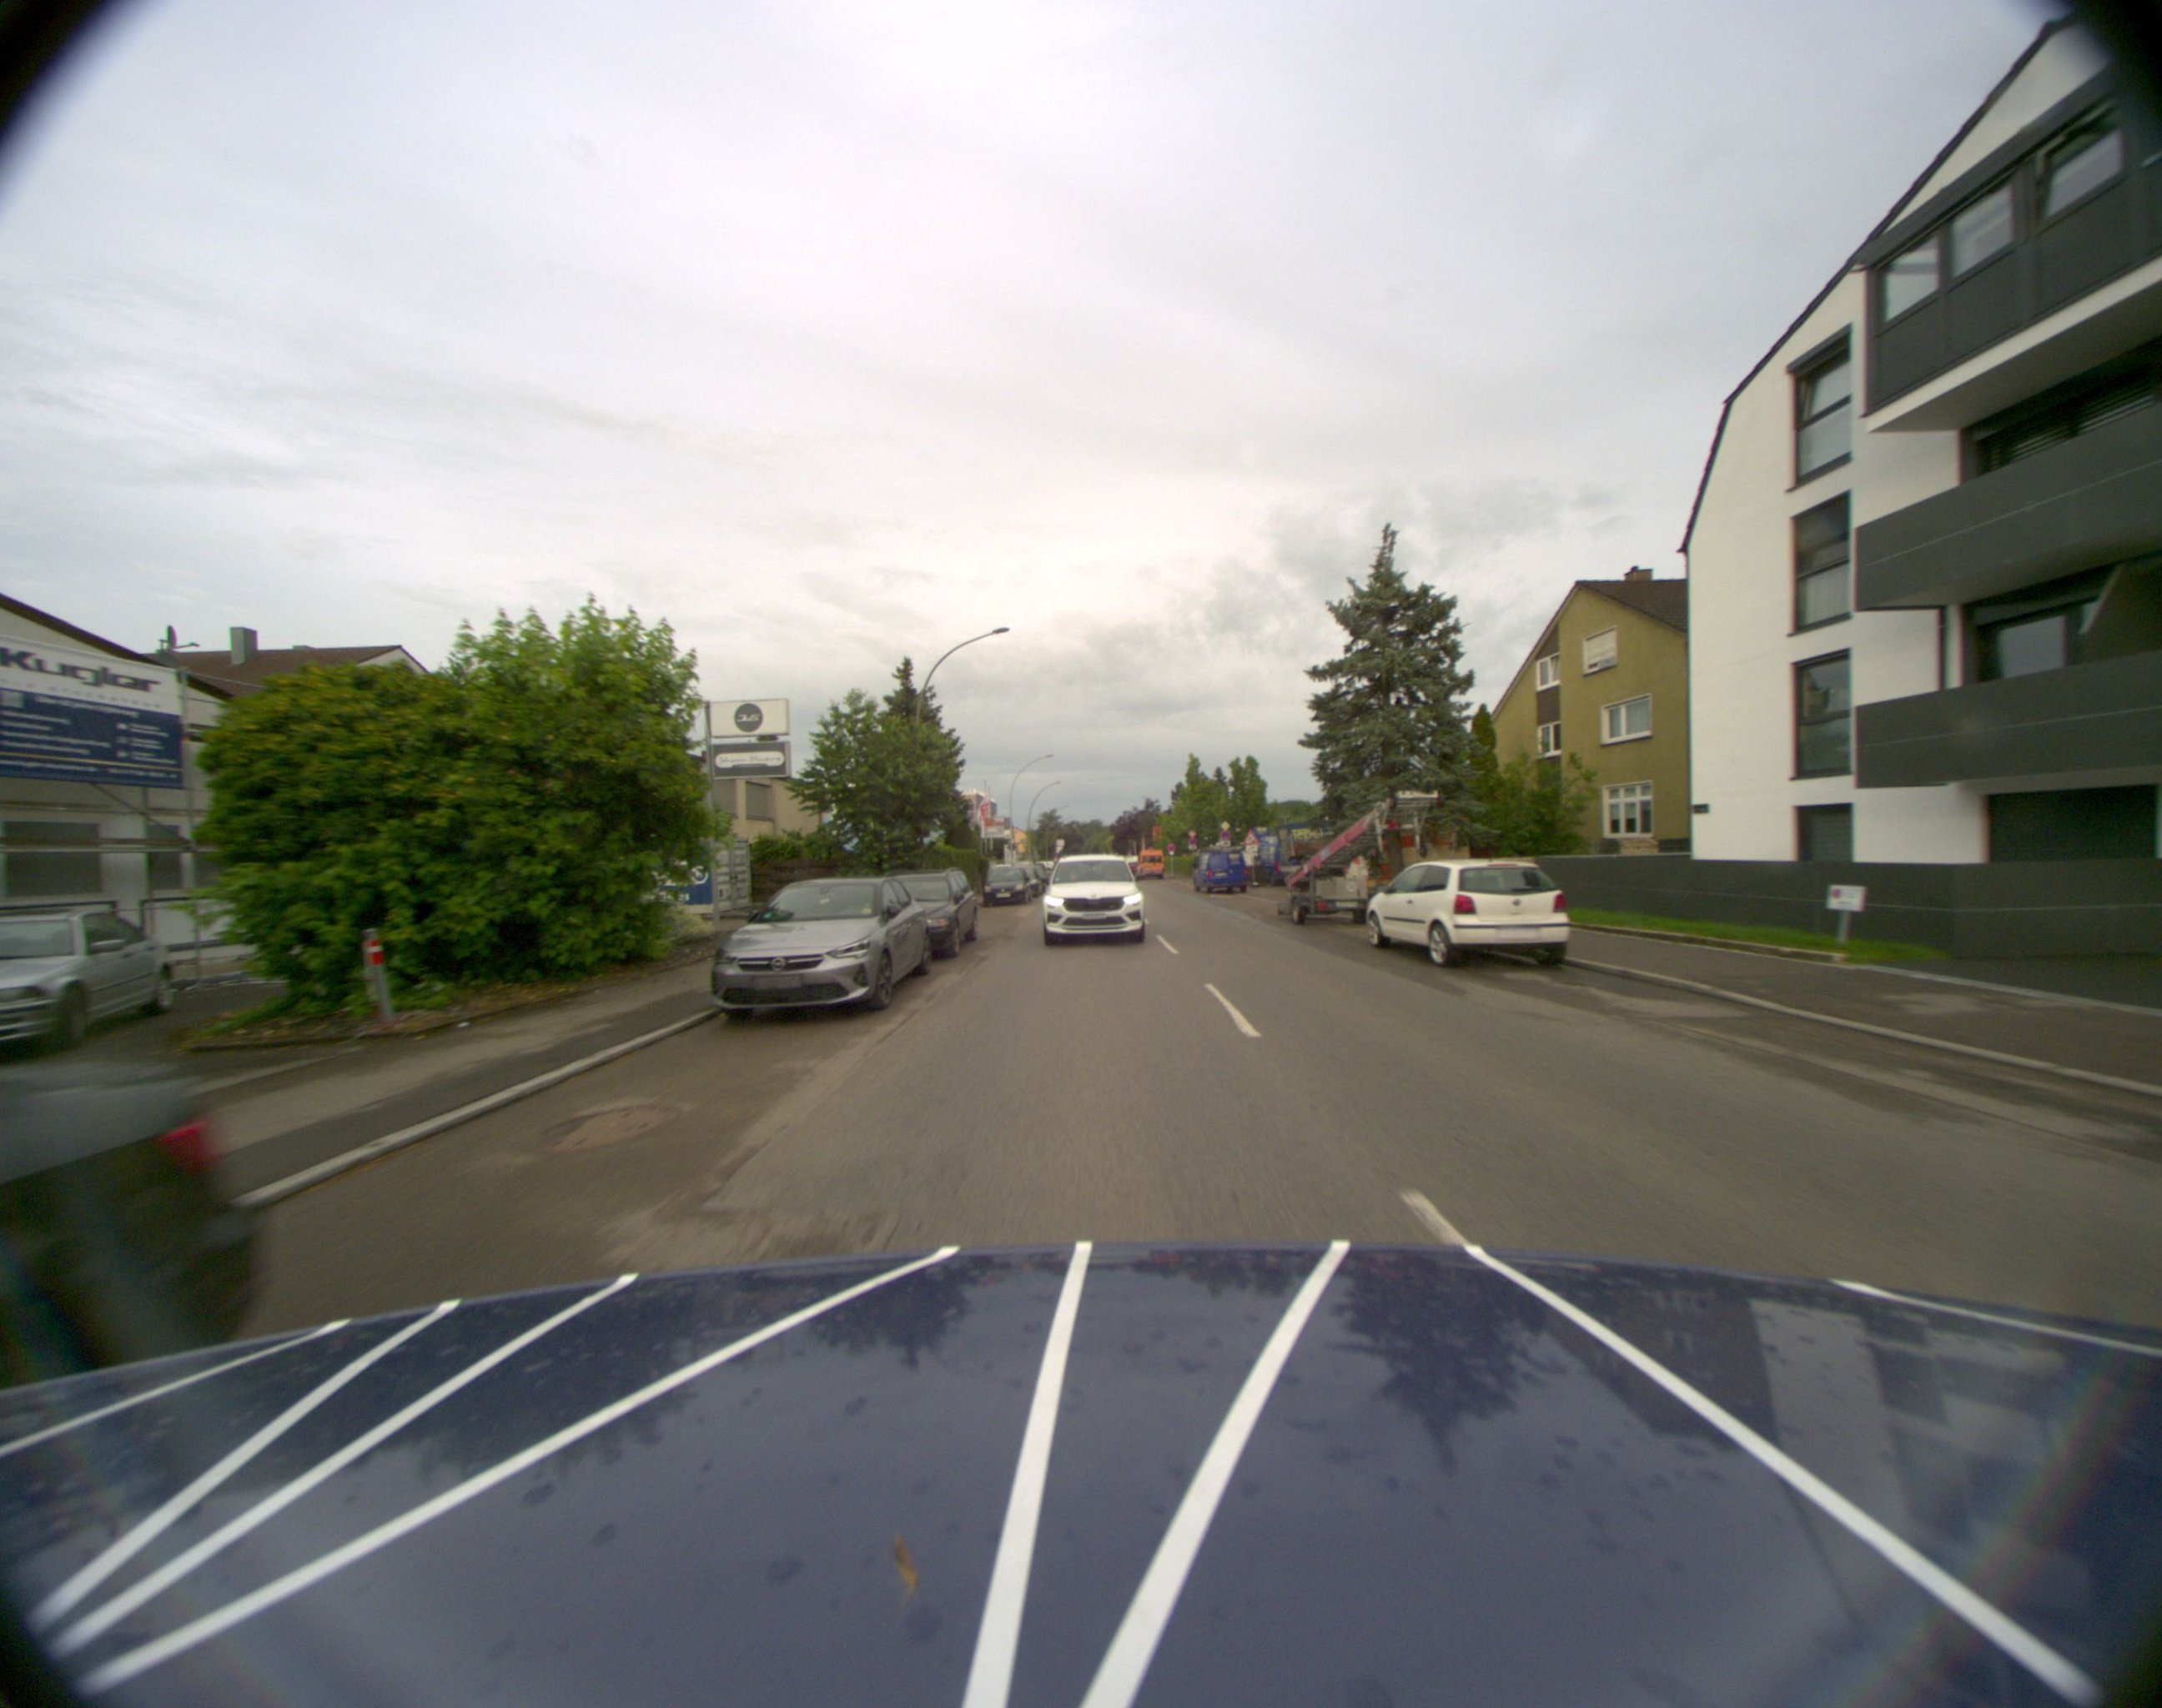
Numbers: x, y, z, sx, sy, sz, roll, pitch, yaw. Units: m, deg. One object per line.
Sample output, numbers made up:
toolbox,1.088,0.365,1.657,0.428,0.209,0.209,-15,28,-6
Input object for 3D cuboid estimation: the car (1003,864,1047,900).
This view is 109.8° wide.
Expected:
car,-2.579,1.271,35.759,1.677,1.455,3.551,-4,0,1

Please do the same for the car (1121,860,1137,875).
car,5.822,1.630,93.221,1.811,1.761,4.001,-1,0,2

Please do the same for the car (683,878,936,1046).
car,-2.967,1.087,9.242,1.656,1.431,4.043,-2,0,-1

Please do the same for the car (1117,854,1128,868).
car,7.278,1.202,134.279,1.659,2.220,3.744,-2,0,1

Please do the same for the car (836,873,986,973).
car,-2.922,1.122,14.055,1.766,1.431,4.484,-1,0,0

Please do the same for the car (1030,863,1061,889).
car,-2.187,1.384,48.091,1.677,1.455,3.551,-4,0,1

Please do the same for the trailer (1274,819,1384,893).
trailer,10.934,0.094,33.743,4.059,3.029,2.168,-2,1,1

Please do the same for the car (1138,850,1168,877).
car,6.365,0.832,68.065,2.264,2.275,4.531,1,0,0

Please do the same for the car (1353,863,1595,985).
car,5.729,0.924,11.668,1.740,1.496,3.871,-1,0,1

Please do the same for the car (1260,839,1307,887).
car,10.648,0.456,40.109,1.569,2.392,3.595,-1,0,2

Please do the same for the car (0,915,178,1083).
car,-11.440,1.453,8.035,1.608,1.360,3.760,-2,0,-37

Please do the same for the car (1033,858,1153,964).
car,0.229,0.928,14.583,1.884,1.650,4.831,-1,0,1

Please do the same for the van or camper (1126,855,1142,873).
van or camper,6.901,1.290,99.391,1.811,2.328,4.001,-1,0,2

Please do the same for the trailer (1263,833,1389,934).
trailer,5.757,0.632,18.376,1.721,2.114,4.007,-2,0,1

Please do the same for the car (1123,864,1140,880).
car,5.873,2.038,88.077,1.811,1.761,4.001,-1,0,2

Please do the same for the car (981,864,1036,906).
car,-2.797,1.173,30.054,1.677,1.455,3.690,-4,0,1

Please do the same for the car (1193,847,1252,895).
car,6.696,0.762,36.452,1.998,2.112,4.755,-1,0,2

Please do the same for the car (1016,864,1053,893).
car,-2.483,1.312,41.252,1.677,1.387,3.551,-4,0,1
